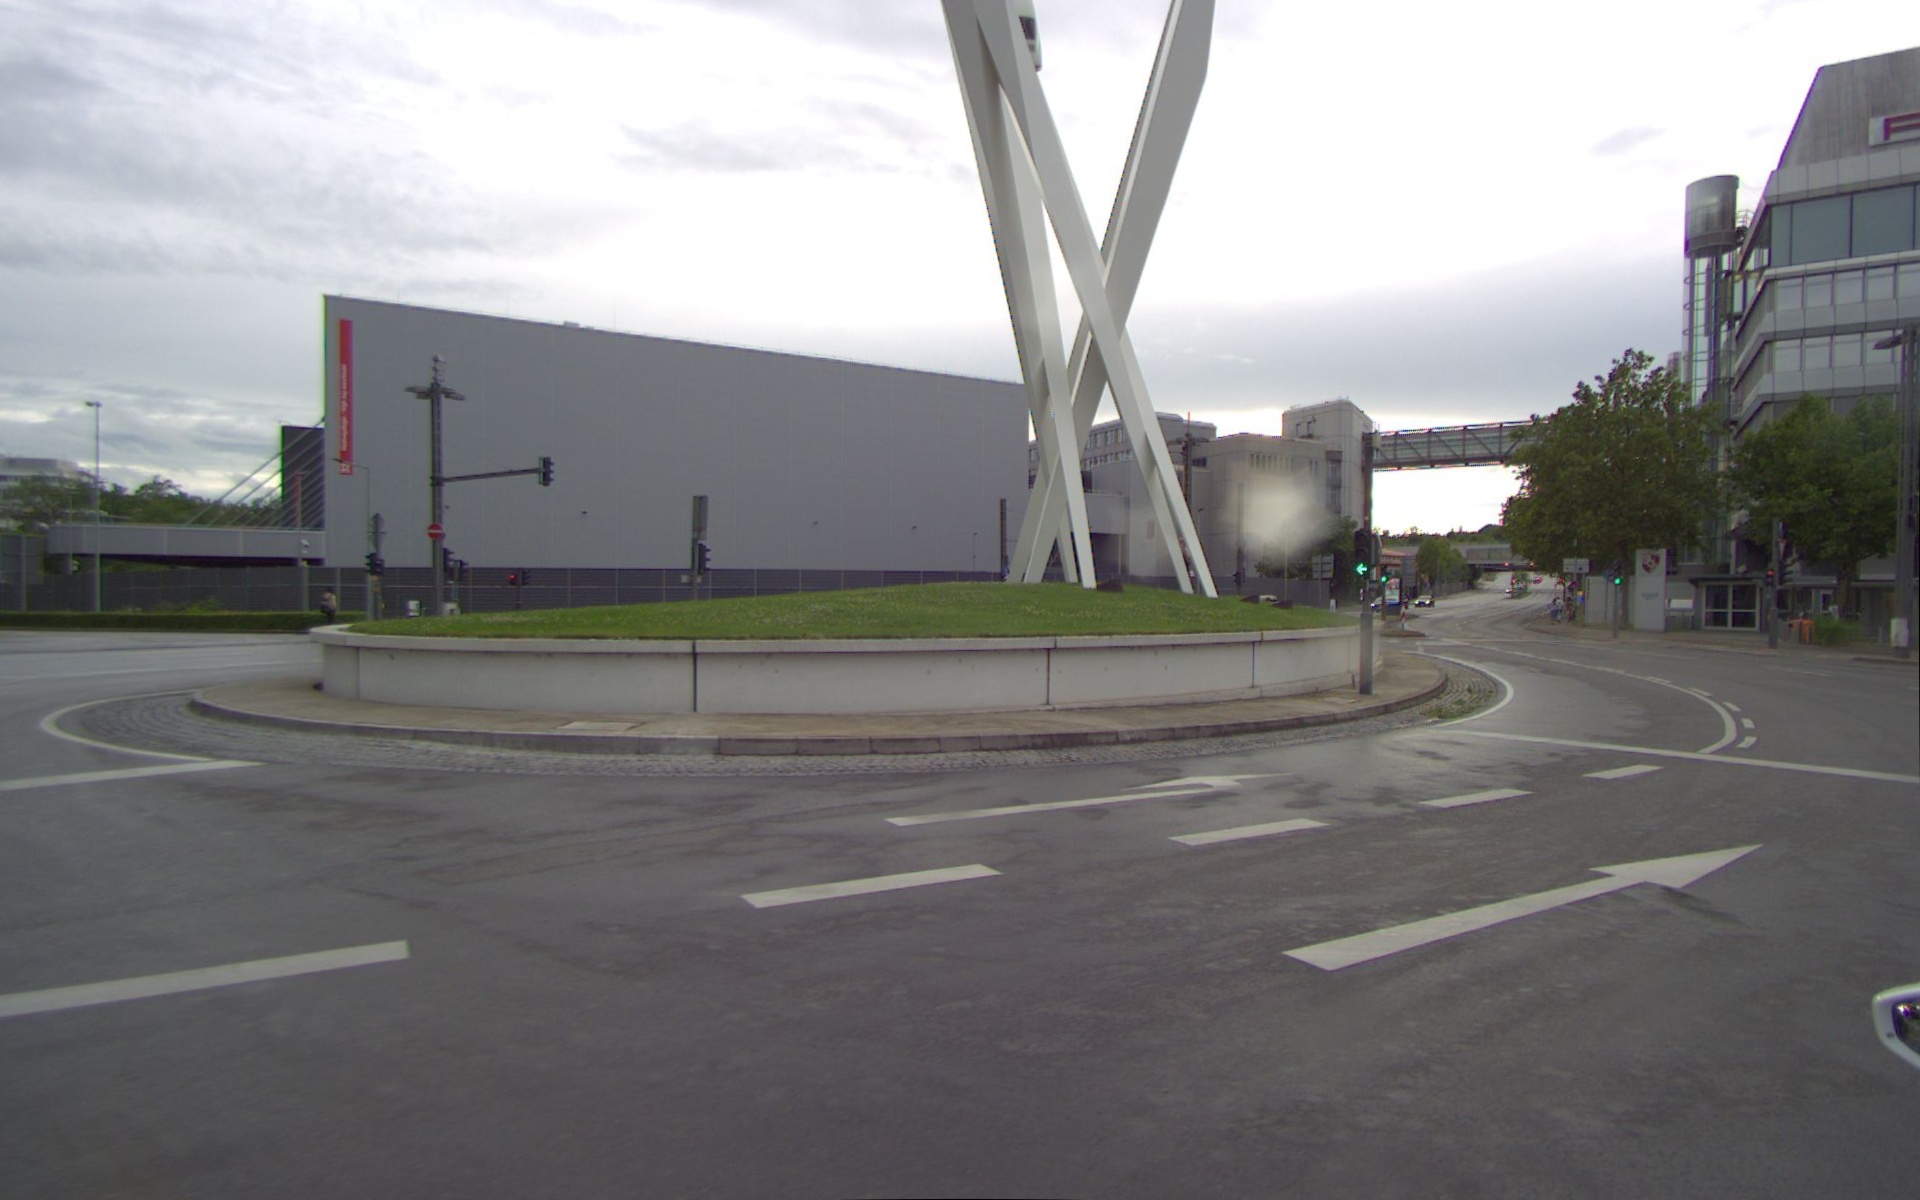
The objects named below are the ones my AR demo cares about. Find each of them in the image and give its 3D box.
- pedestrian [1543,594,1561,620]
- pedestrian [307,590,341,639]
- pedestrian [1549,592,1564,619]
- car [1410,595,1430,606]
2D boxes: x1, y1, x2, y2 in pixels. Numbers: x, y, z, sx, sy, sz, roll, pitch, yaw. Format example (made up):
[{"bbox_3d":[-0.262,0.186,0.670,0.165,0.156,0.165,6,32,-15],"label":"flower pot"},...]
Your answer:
[{"bbox_3d":[34.856,0.399,59.117,0.821,1.541,0.838,1,1,37],"label":"pedestrian"},{"bbox_3d":[-23.985,0.546,37.864,0.636,1.827,0.854,1,0,20],"label":"pedestrian"},{"bbox_3d":[36.107,0.307,60.756,0.700,1.613,0.837,1,1,36],"label":"pedestrian"},{"bbox_3d":[58.451,0.054,127.594,1.758,1.403,4.535,-2,-1,32],"label":"car"}]
